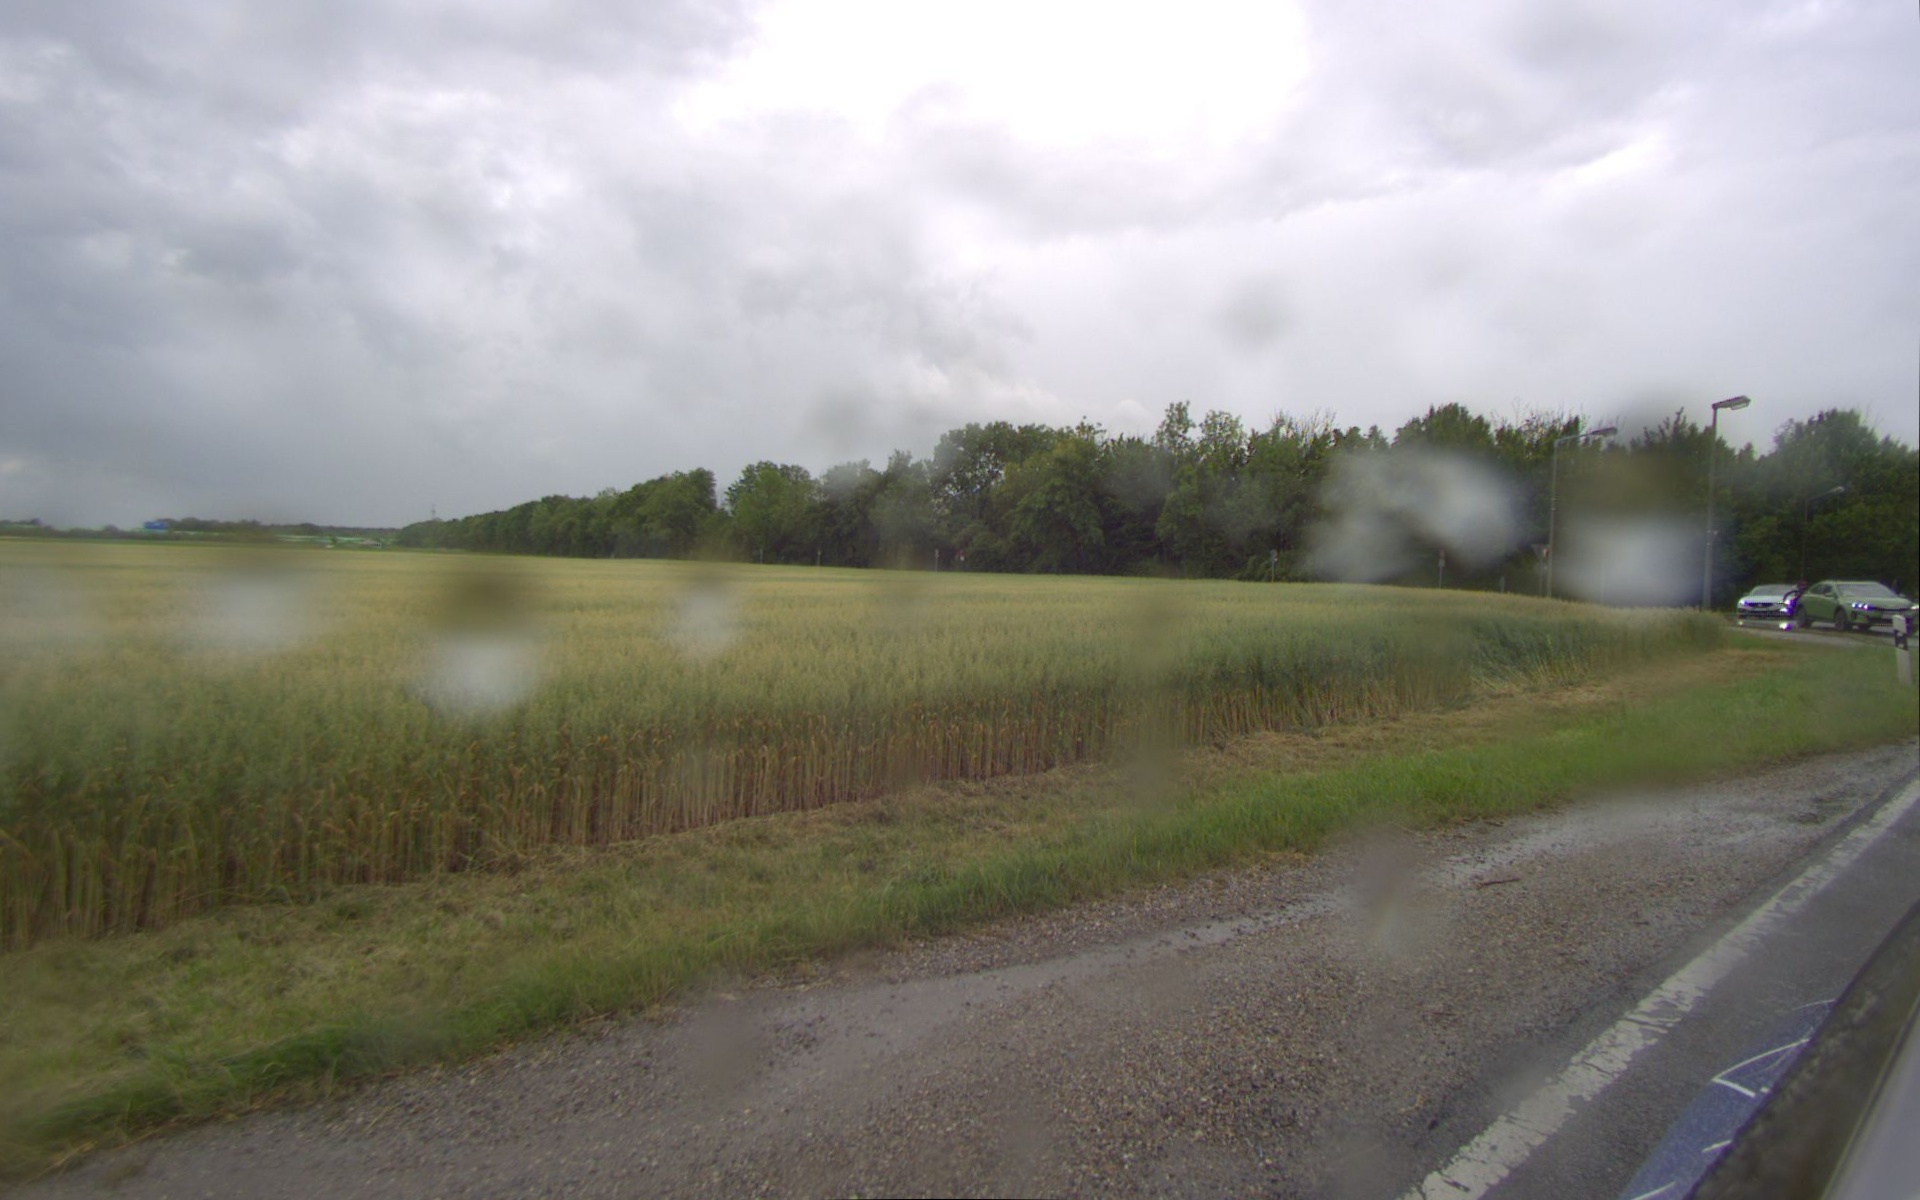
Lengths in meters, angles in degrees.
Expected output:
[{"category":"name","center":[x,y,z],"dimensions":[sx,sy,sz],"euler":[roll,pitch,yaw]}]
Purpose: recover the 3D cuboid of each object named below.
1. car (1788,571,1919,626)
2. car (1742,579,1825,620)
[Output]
[{"category":"car","center":[27.698,-0.079,31.109],"dimensions":[1.870,1.550,5.220],"euler":[1,1,20]},{"category":"car","center":[33.132,-0.055,40.672],"dimensions":[4.424,1.550,1.890],"euler":[0,1,-41]}]
